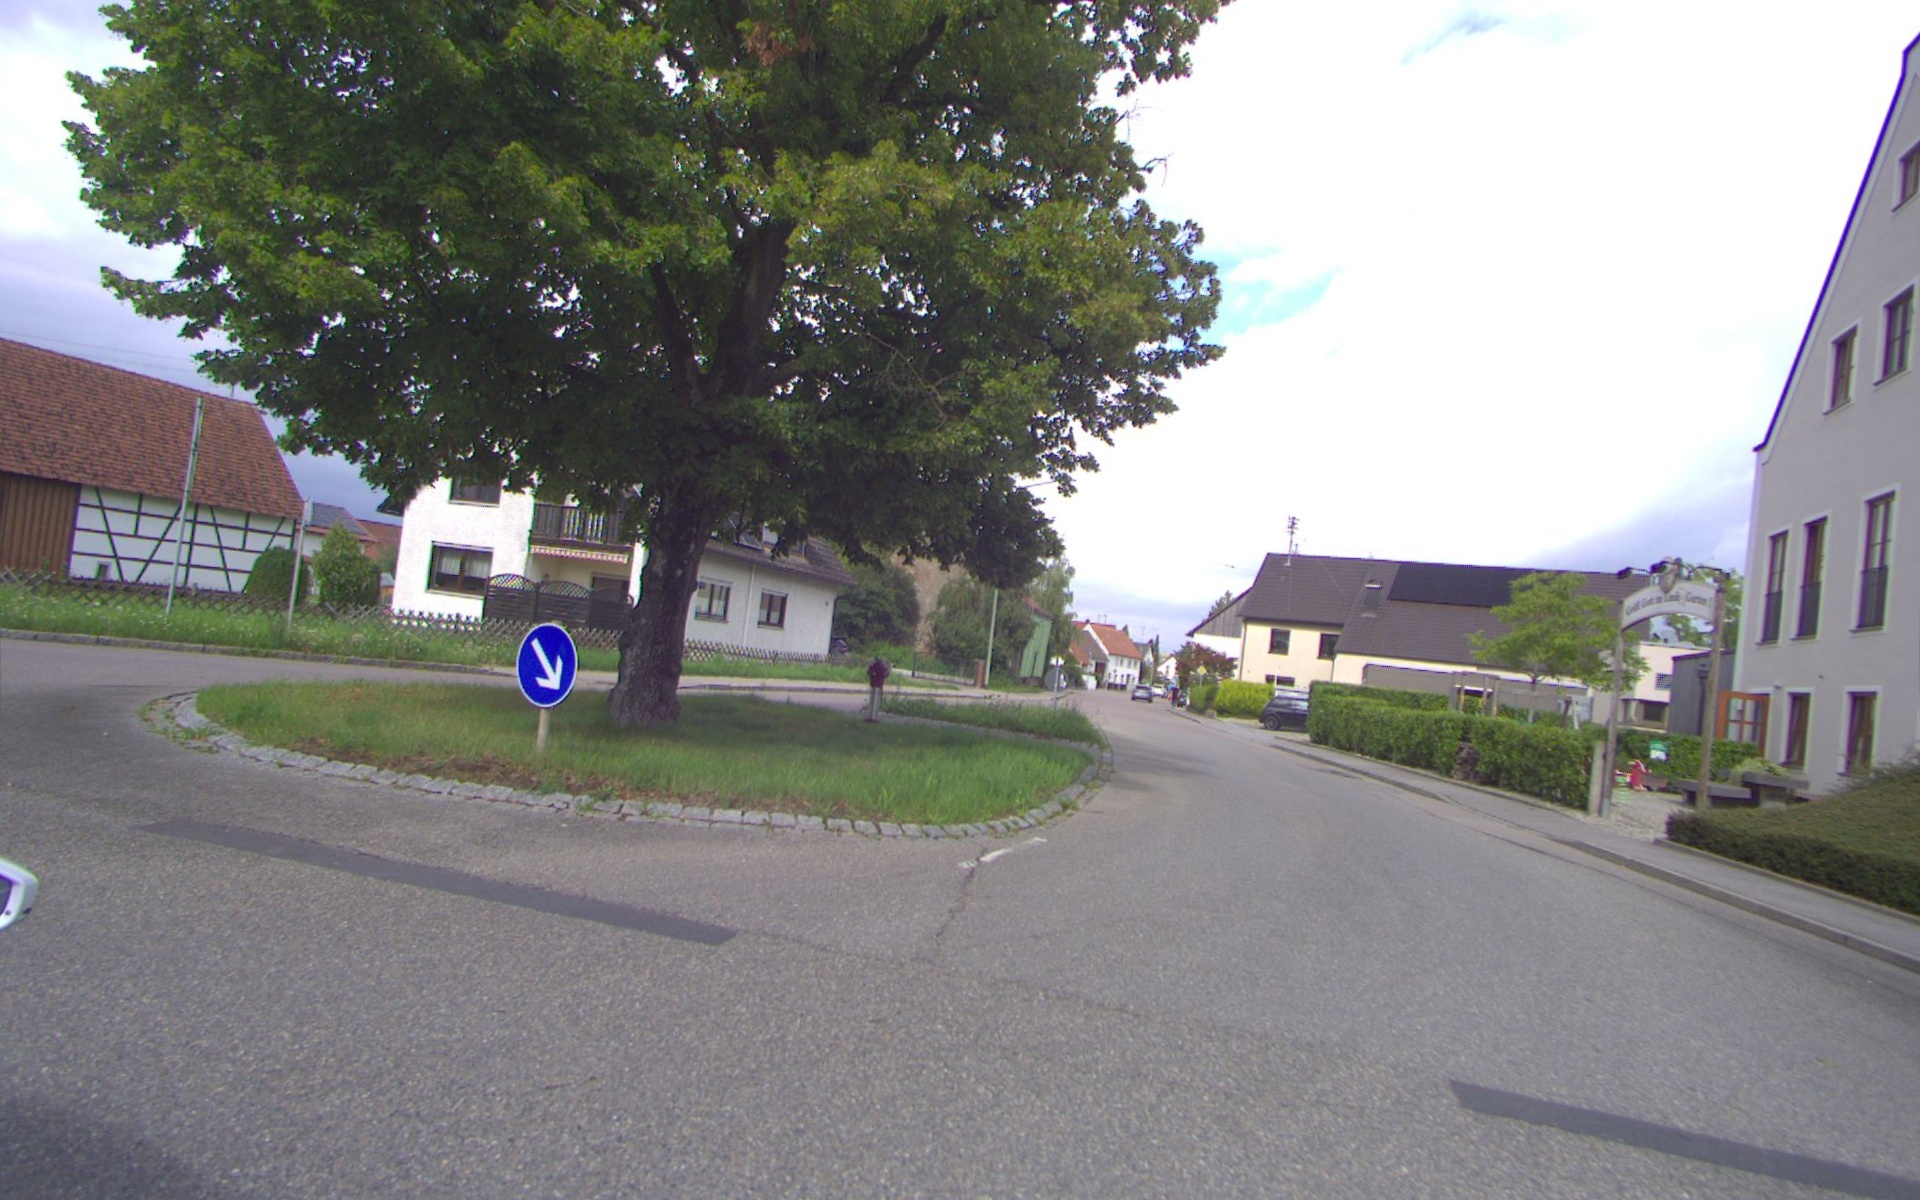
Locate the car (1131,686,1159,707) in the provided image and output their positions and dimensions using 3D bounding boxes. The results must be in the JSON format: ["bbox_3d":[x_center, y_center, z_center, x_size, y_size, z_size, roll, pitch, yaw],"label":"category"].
[{"bbox_3d":[16.801,8.719,91.172,1.699,1.624,4.004,6,-3,21],"label":"car"}]

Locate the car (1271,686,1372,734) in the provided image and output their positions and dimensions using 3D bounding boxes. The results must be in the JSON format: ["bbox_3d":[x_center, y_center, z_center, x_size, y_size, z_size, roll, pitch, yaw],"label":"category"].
[{"bbox_3d":[16.003,4.831,44.596,3.845,1.719,1.698,3,-3,33],"label":"car"}]

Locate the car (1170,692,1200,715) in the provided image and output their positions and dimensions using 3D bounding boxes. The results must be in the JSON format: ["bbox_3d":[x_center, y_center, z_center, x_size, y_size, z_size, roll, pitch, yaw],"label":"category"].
[{"bbox_3d":[18.565,8.548,82.887,1.699,1.624,4.004,6,-3,21],"label":"car"}]

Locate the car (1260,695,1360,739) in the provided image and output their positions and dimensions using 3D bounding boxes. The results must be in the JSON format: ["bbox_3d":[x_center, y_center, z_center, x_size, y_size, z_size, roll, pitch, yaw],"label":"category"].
[{"bbox_3d":[14.754,4.890,42.404,3.836,1.419,1.702,3,-2,23],"label":"car"}]
